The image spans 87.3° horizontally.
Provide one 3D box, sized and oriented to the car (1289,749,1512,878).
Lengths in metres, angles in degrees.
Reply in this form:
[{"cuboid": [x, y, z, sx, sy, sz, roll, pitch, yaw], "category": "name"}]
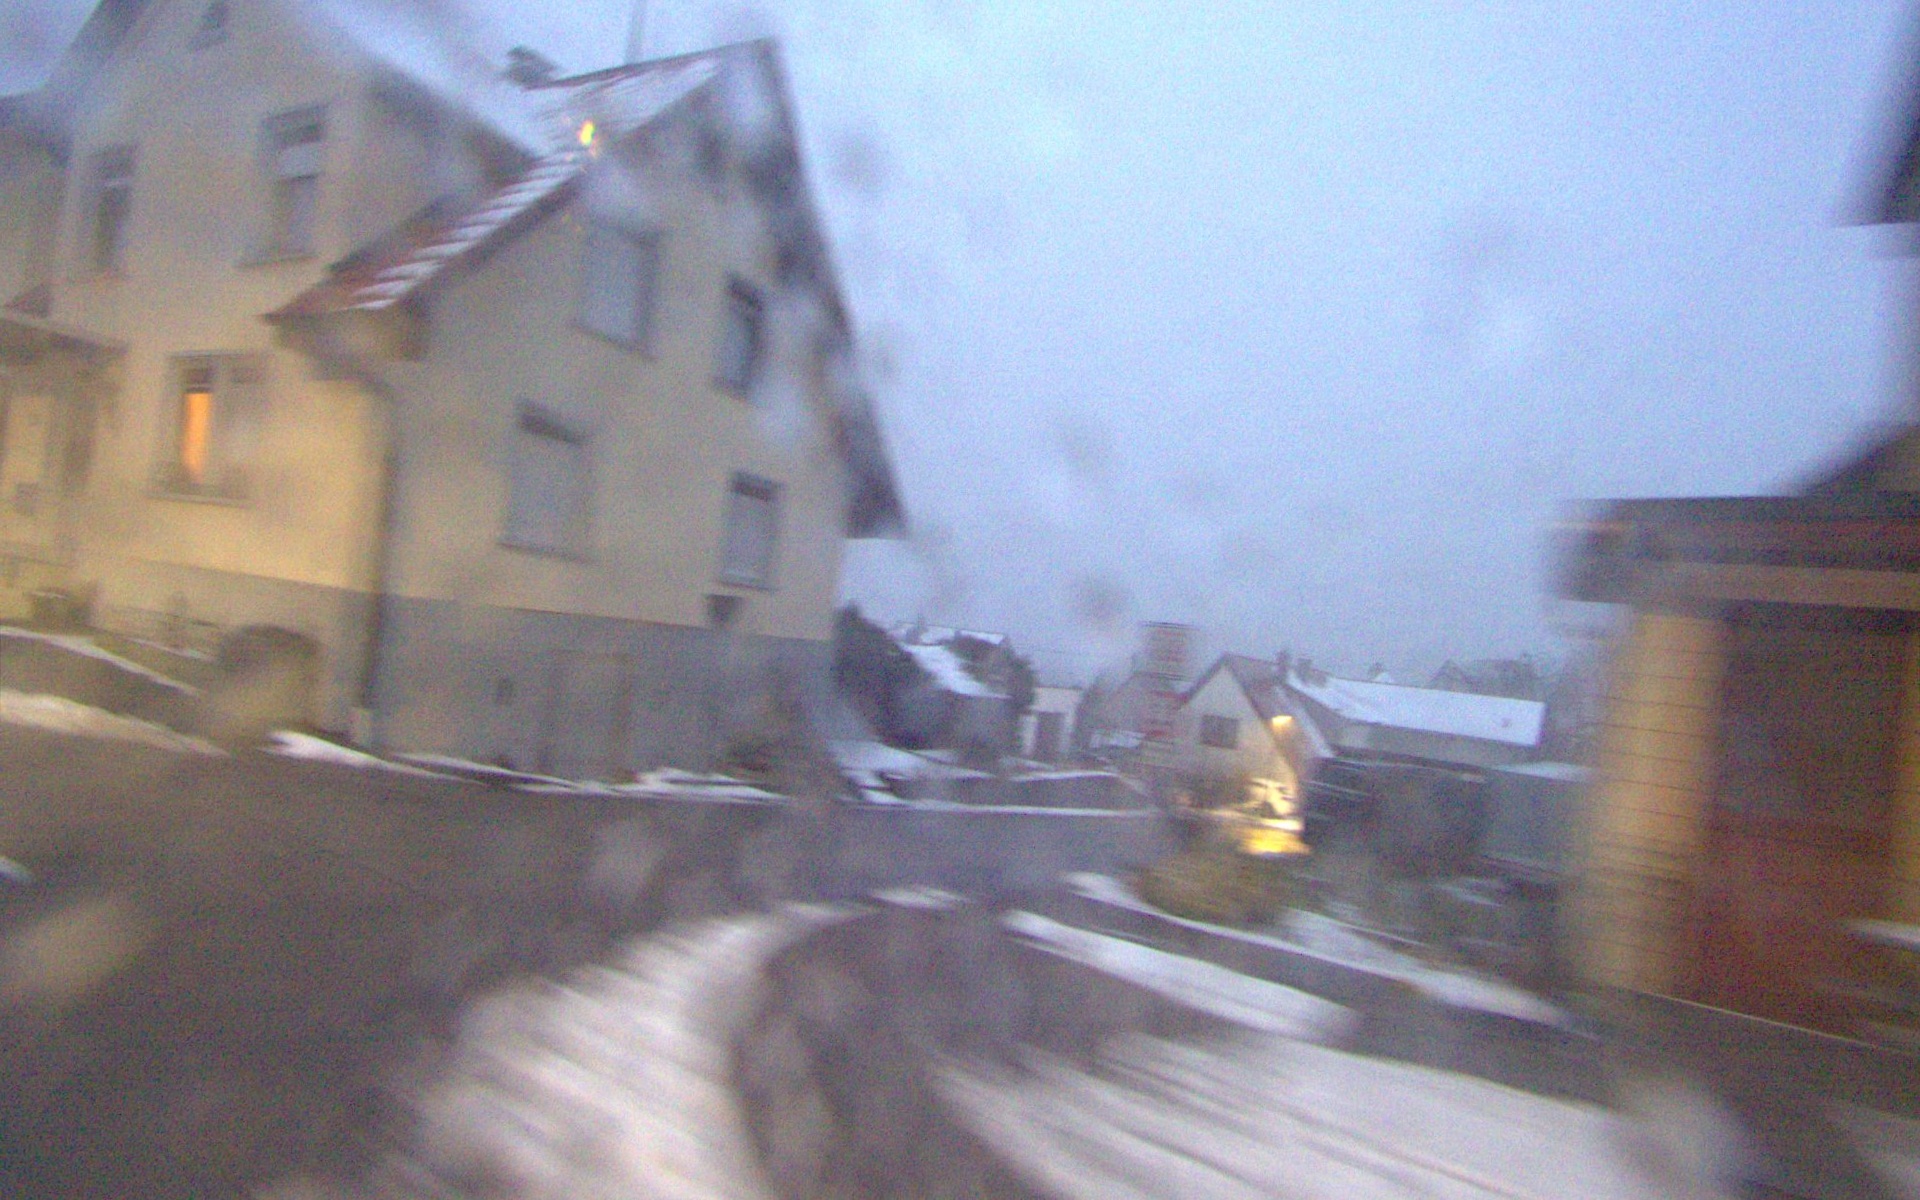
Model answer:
[{"cuboid": [8.421, 4.073, 19.191, 3.954, 2.028, 1.694, 8, -3, -28], "category": "car"}]
